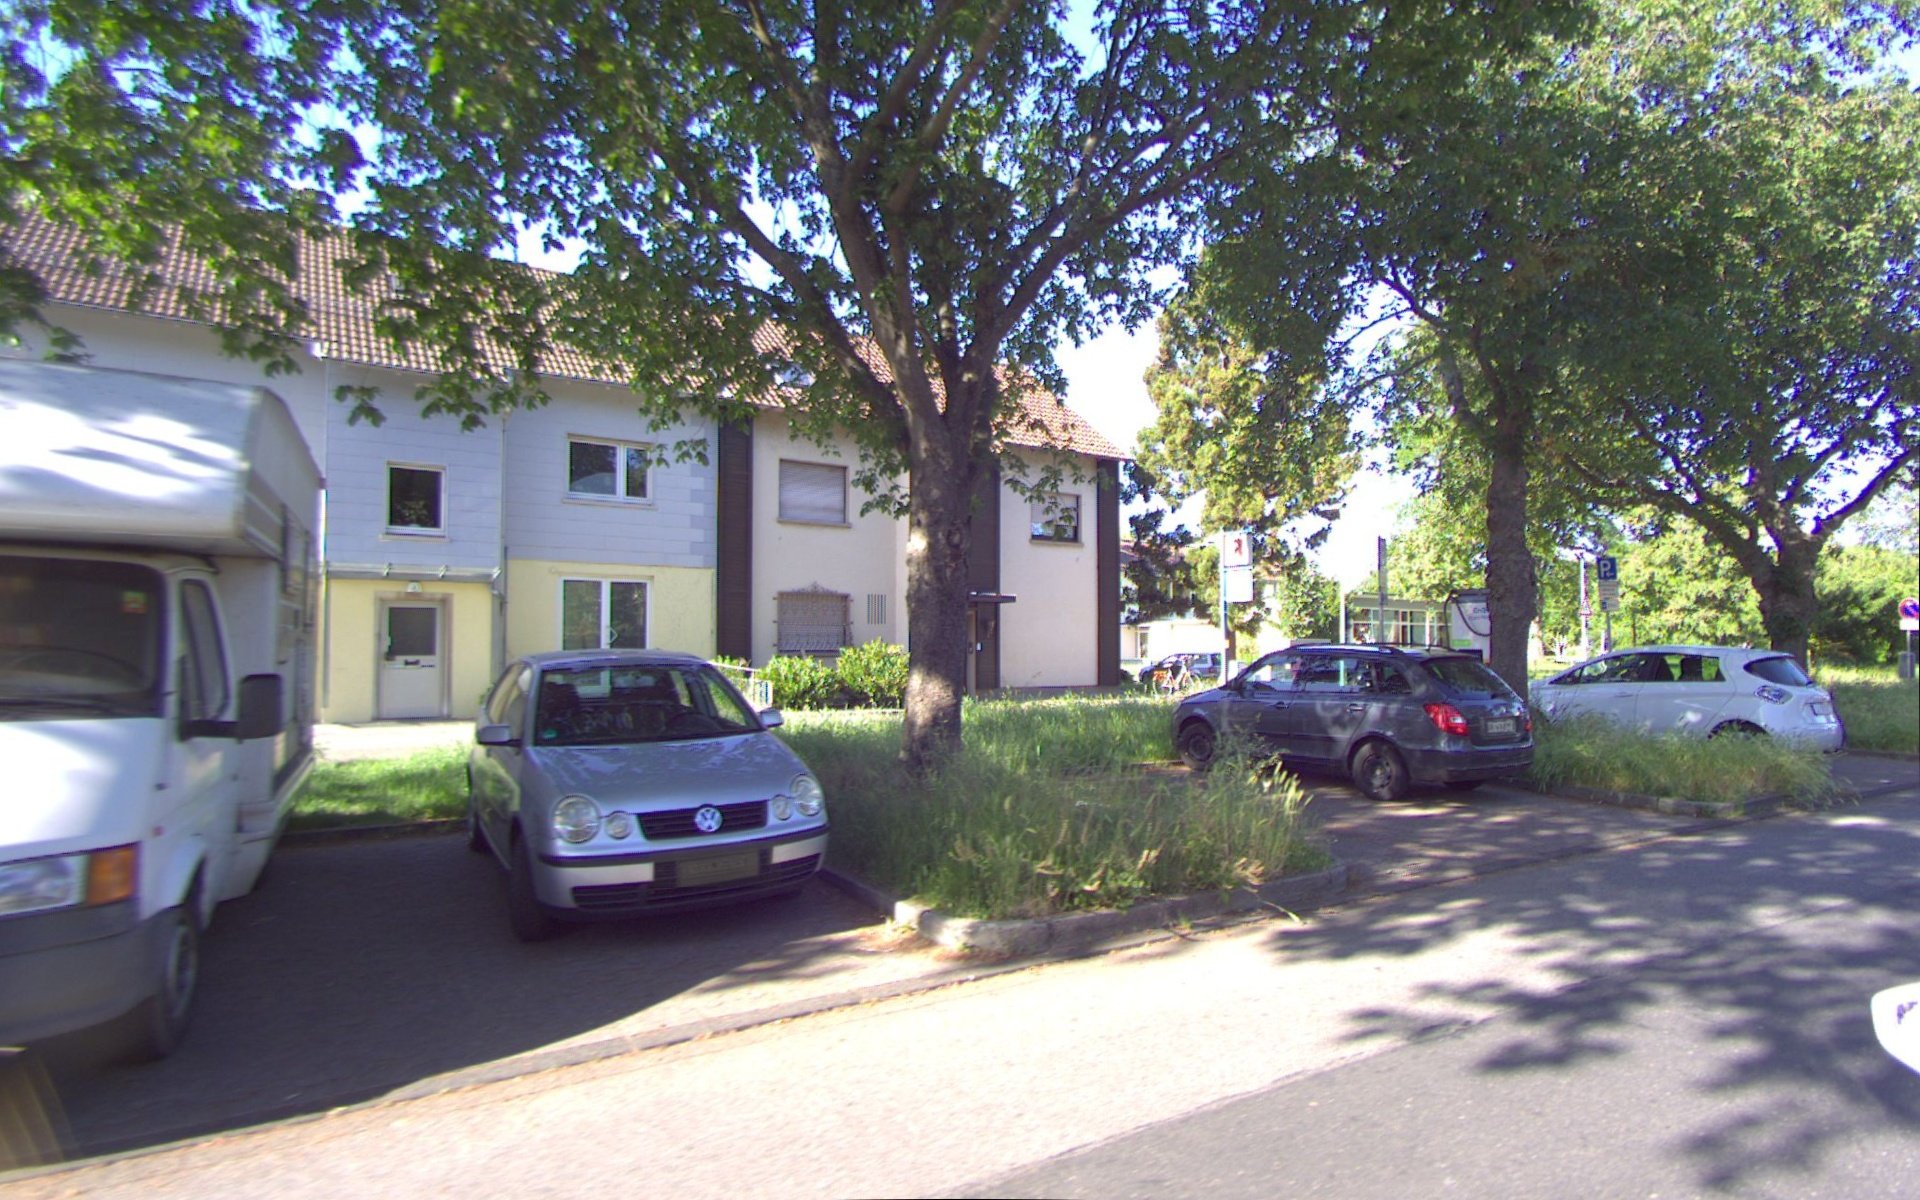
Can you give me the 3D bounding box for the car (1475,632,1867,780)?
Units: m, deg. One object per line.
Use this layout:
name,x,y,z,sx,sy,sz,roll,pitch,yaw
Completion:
car,9.512,1.293,13.768,1.945,1.682,3.965,2,-2,-32

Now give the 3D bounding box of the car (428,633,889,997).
car,-2.316,1.086,6.853,1.979,1.478,3.964,3,0,-33

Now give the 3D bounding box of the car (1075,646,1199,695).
car,6.170,2.426,35.385,1.983,1.385,3.956,2,0,-38

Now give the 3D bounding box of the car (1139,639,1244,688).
car,9.312,2.518,40.690,1.978,1.844,3.967,2,-2,-31

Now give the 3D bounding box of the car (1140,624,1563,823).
car,4.119,1.179,11.193,1.978,1.610,3.964,3,0,-32

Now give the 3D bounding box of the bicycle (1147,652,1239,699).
bicycle,6.612,2.081,28.287,0.696,1.192,4.035,-2,-3,41

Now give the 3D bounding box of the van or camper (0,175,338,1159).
van or camper,-4.589,0.126,5.167,1.976,2.842,5.750,2,0,-29
